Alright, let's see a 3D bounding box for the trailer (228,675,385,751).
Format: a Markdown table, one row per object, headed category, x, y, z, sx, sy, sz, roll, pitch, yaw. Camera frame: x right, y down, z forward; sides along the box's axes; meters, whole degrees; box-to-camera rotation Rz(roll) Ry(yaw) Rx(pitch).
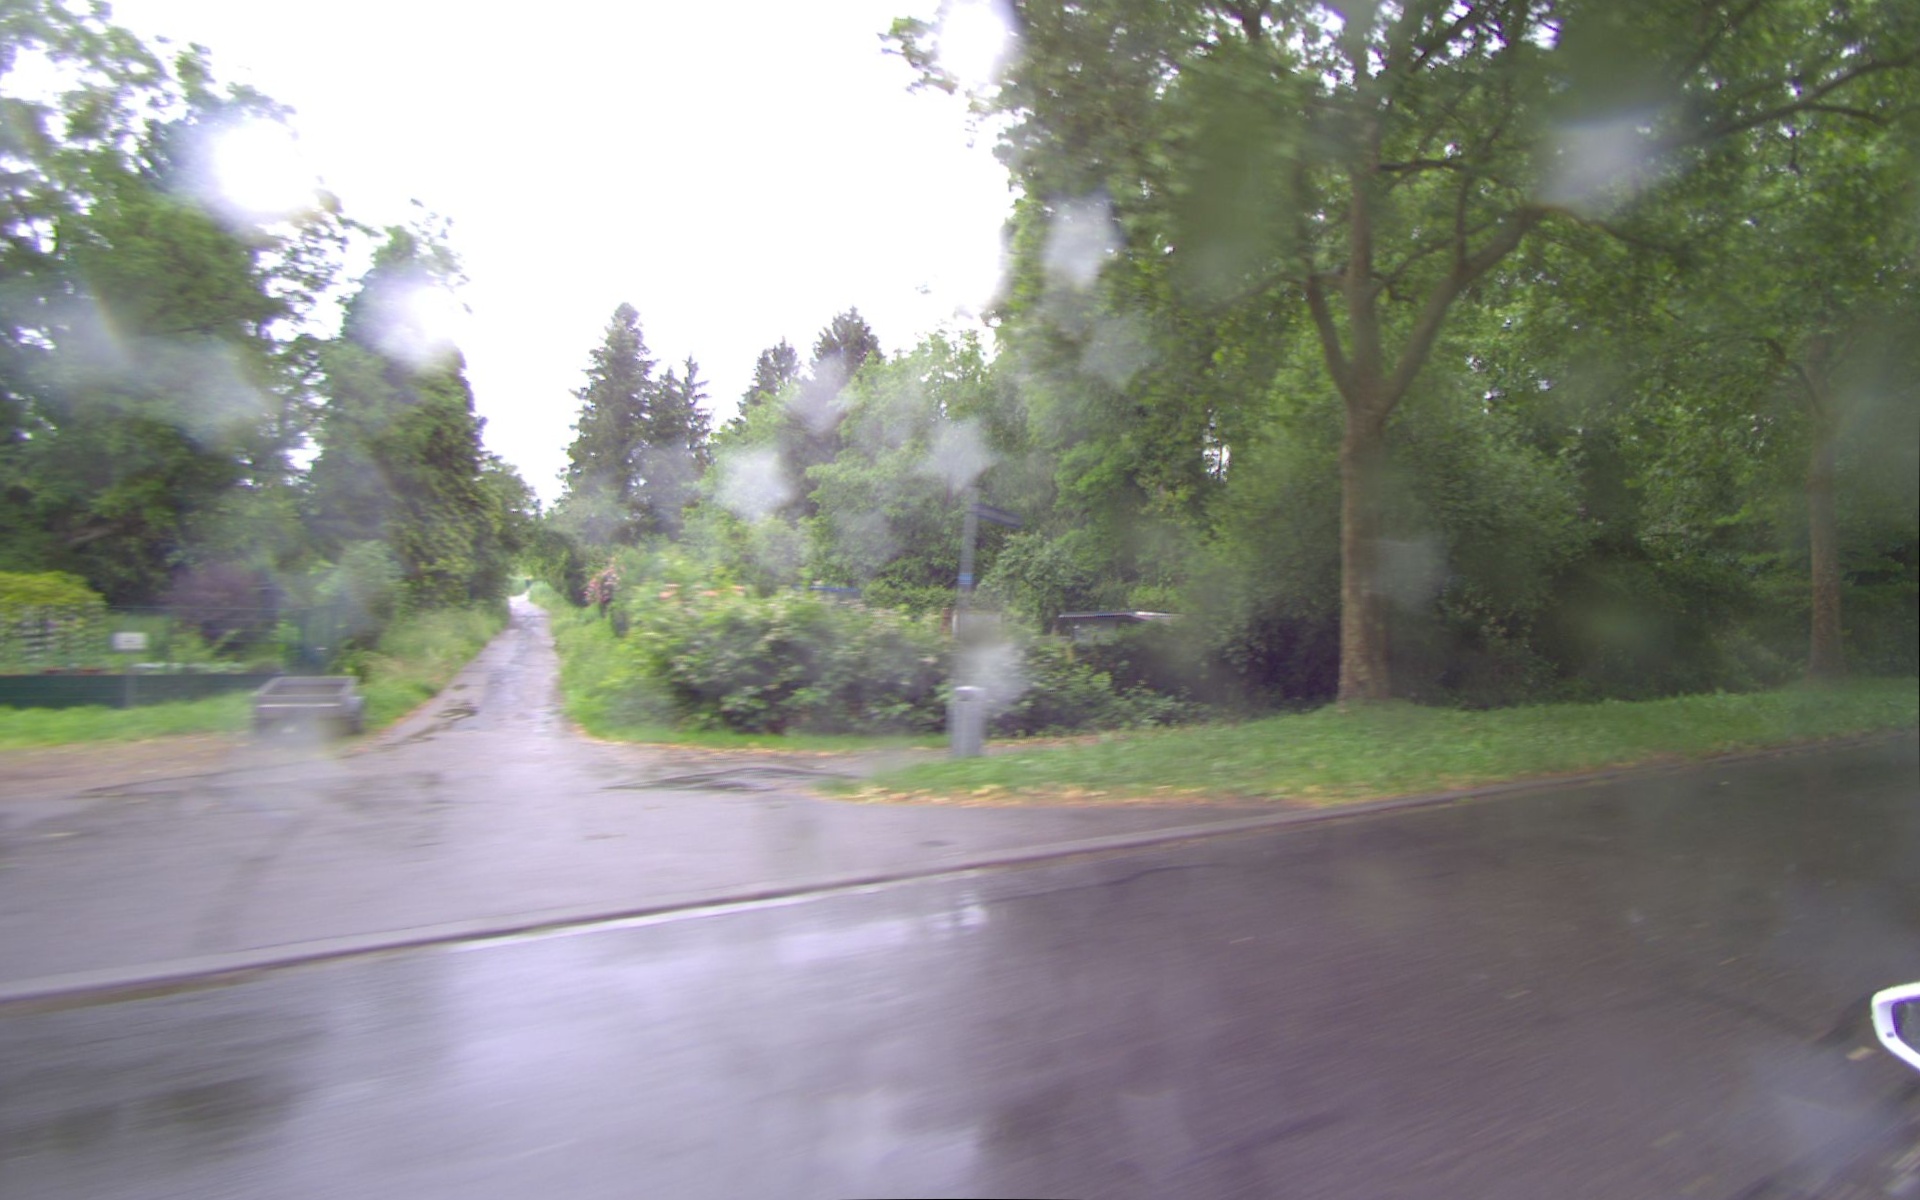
| category | x | y | z | sx | sy | sz | roll | pitch | yaw |
| --- | --- | --- | --- | --- | --- | --- | --- | --- | --- |
| trailer | -10.125 | 1.708 | 15.765 | 1.656 | 0.848 | 3.019 | 2 | -1 | -26 |
